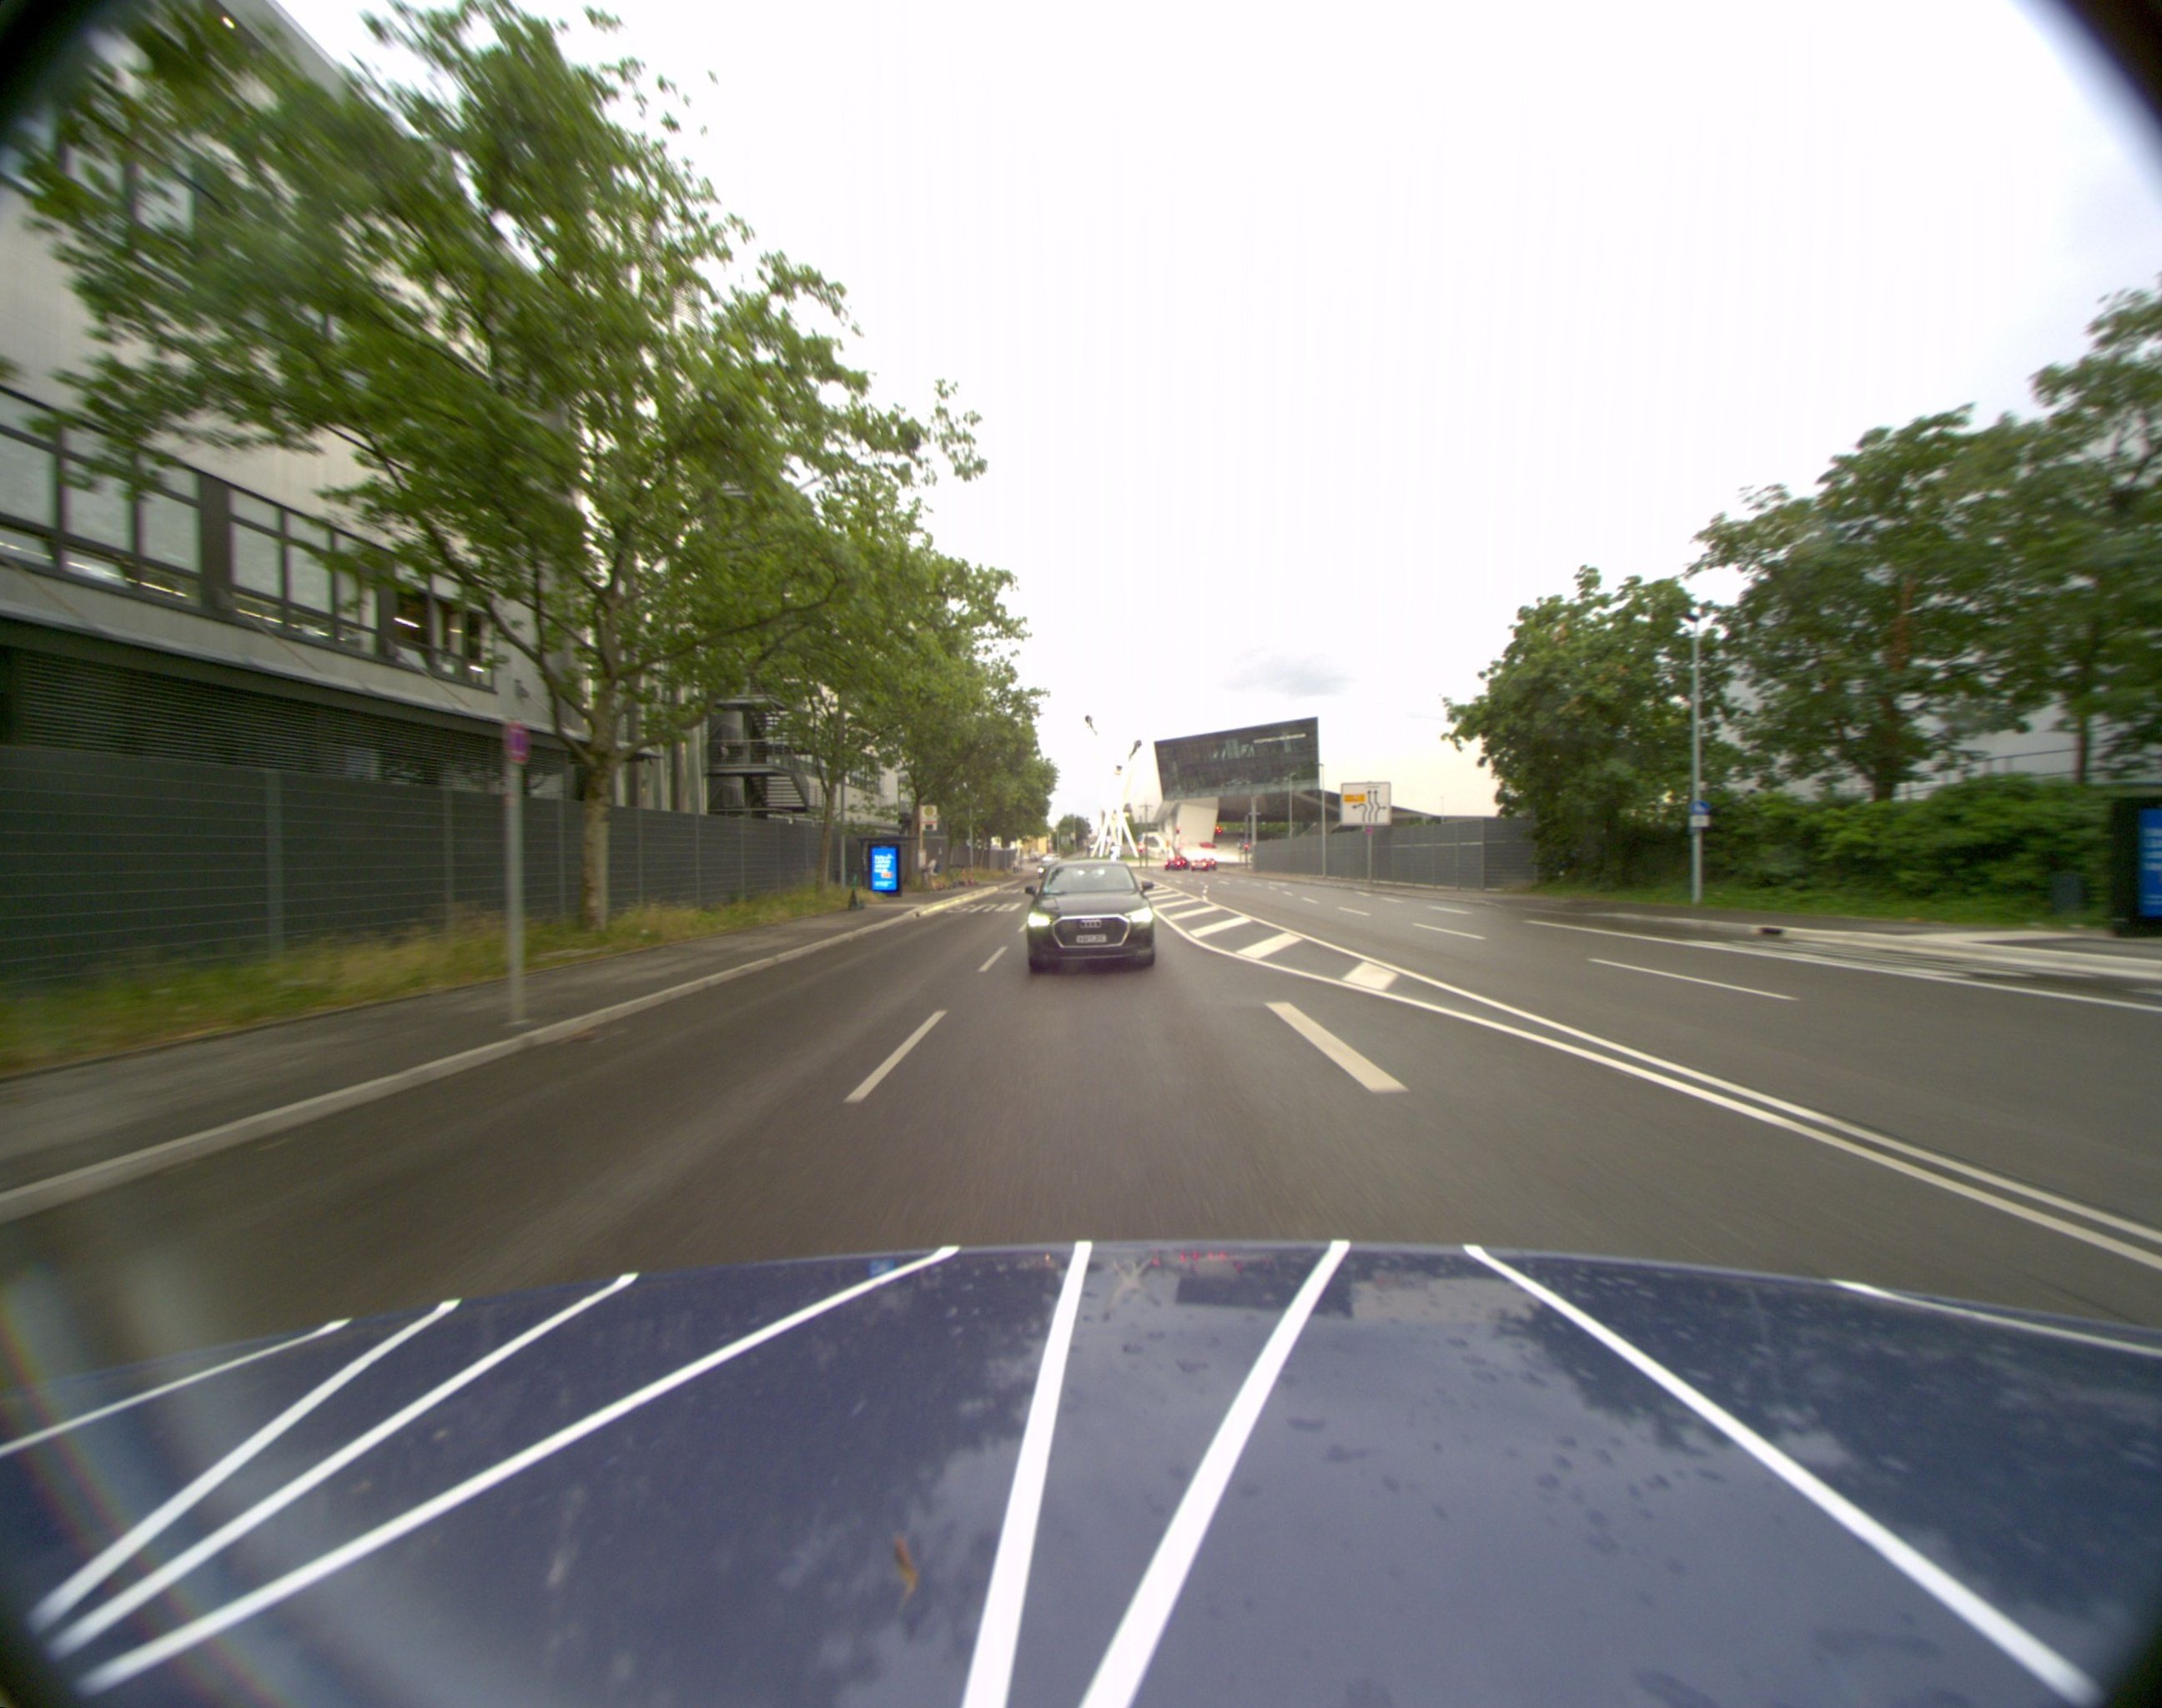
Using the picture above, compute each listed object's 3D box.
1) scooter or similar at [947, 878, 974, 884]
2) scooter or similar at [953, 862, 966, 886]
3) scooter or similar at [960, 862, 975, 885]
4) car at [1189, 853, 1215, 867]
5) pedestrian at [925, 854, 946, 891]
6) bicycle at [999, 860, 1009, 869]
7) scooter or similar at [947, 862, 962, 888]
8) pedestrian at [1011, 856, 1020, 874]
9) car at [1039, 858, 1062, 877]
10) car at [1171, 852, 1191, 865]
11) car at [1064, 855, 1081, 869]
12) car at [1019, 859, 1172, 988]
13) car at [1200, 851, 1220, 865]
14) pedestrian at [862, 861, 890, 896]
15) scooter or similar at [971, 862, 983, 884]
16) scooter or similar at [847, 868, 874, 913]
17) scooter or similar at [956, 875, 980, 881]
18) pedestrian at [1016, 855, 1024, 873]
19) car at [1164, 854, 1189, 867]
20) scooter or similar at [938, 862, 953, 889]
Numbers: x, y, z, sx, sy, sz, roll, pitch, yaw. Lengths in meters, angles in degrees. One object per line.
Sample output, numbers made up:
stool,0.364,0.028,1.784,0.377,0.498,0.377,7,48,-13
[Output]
scooter or similar,-7.246,1.620,45.857,1.098,0.343,1.260,-1,0,24
scooter or similar,-6.626,1.095,41.494,0.437,1.288,1.301,-1,0,4
scooter or similar,-6.495,1.092,43.417,0.437,1.288,1.368,-1,0,8
car,14.060,0.690,88.149,2.267,1.469,4.053,-1,0,18
pedestrian,-6.805,0.854,35.554,0.778,1.700,0.729,-1,1,0
bicycle,-7.668,1.055,75.872,0.727,0.870,1.905,-2,1,0
scooter or similar,-6.554,1.091,39.322,0.437,1.288,1.301,-1,0,4
pedestrian,-5.988,1.040,69.963,0.723,1.610,0.833,2,1,0
car,-2.562,1.113,63.490,1.881,1.485,4.075,0,0,-3
car,12.591,0.524,95.217,1.878,1.641,3.857,0,0,17
car,-0.999,0.868,85.791,1.842,1.444,4.786,-2,0,-1
car,0.164,0.917,12.558,1.951,1.609,5.276,-2,0,-1
car,16.130,0.480,95.023,1.861,1.641,3.793,0,0,20
pedestrian,-8.395,1.006,31.181,0.932,1.408,0.698,-1,1,0
scooter or similar,-6.470,1.175,47.329,0.437,1.277,1.301,-1,0,8
scooter or similar,-6.692,1.100,23.108,0.329,1.301,1.246,-1,1,5
scooter or similar,-7.215,1.550,48.491,1.184,0.309,1.200,-1,0,-27
pedestrian,-5.852,0.981,72.948,0.723,1.657,0.833,2,1,0
car,11.355,0.773,89.999,2.255,1.469,3.884,-1,0,18
scooter or similar,-6.748,1.068,37.824,0.437,1.288,1.301,-1,0,4
